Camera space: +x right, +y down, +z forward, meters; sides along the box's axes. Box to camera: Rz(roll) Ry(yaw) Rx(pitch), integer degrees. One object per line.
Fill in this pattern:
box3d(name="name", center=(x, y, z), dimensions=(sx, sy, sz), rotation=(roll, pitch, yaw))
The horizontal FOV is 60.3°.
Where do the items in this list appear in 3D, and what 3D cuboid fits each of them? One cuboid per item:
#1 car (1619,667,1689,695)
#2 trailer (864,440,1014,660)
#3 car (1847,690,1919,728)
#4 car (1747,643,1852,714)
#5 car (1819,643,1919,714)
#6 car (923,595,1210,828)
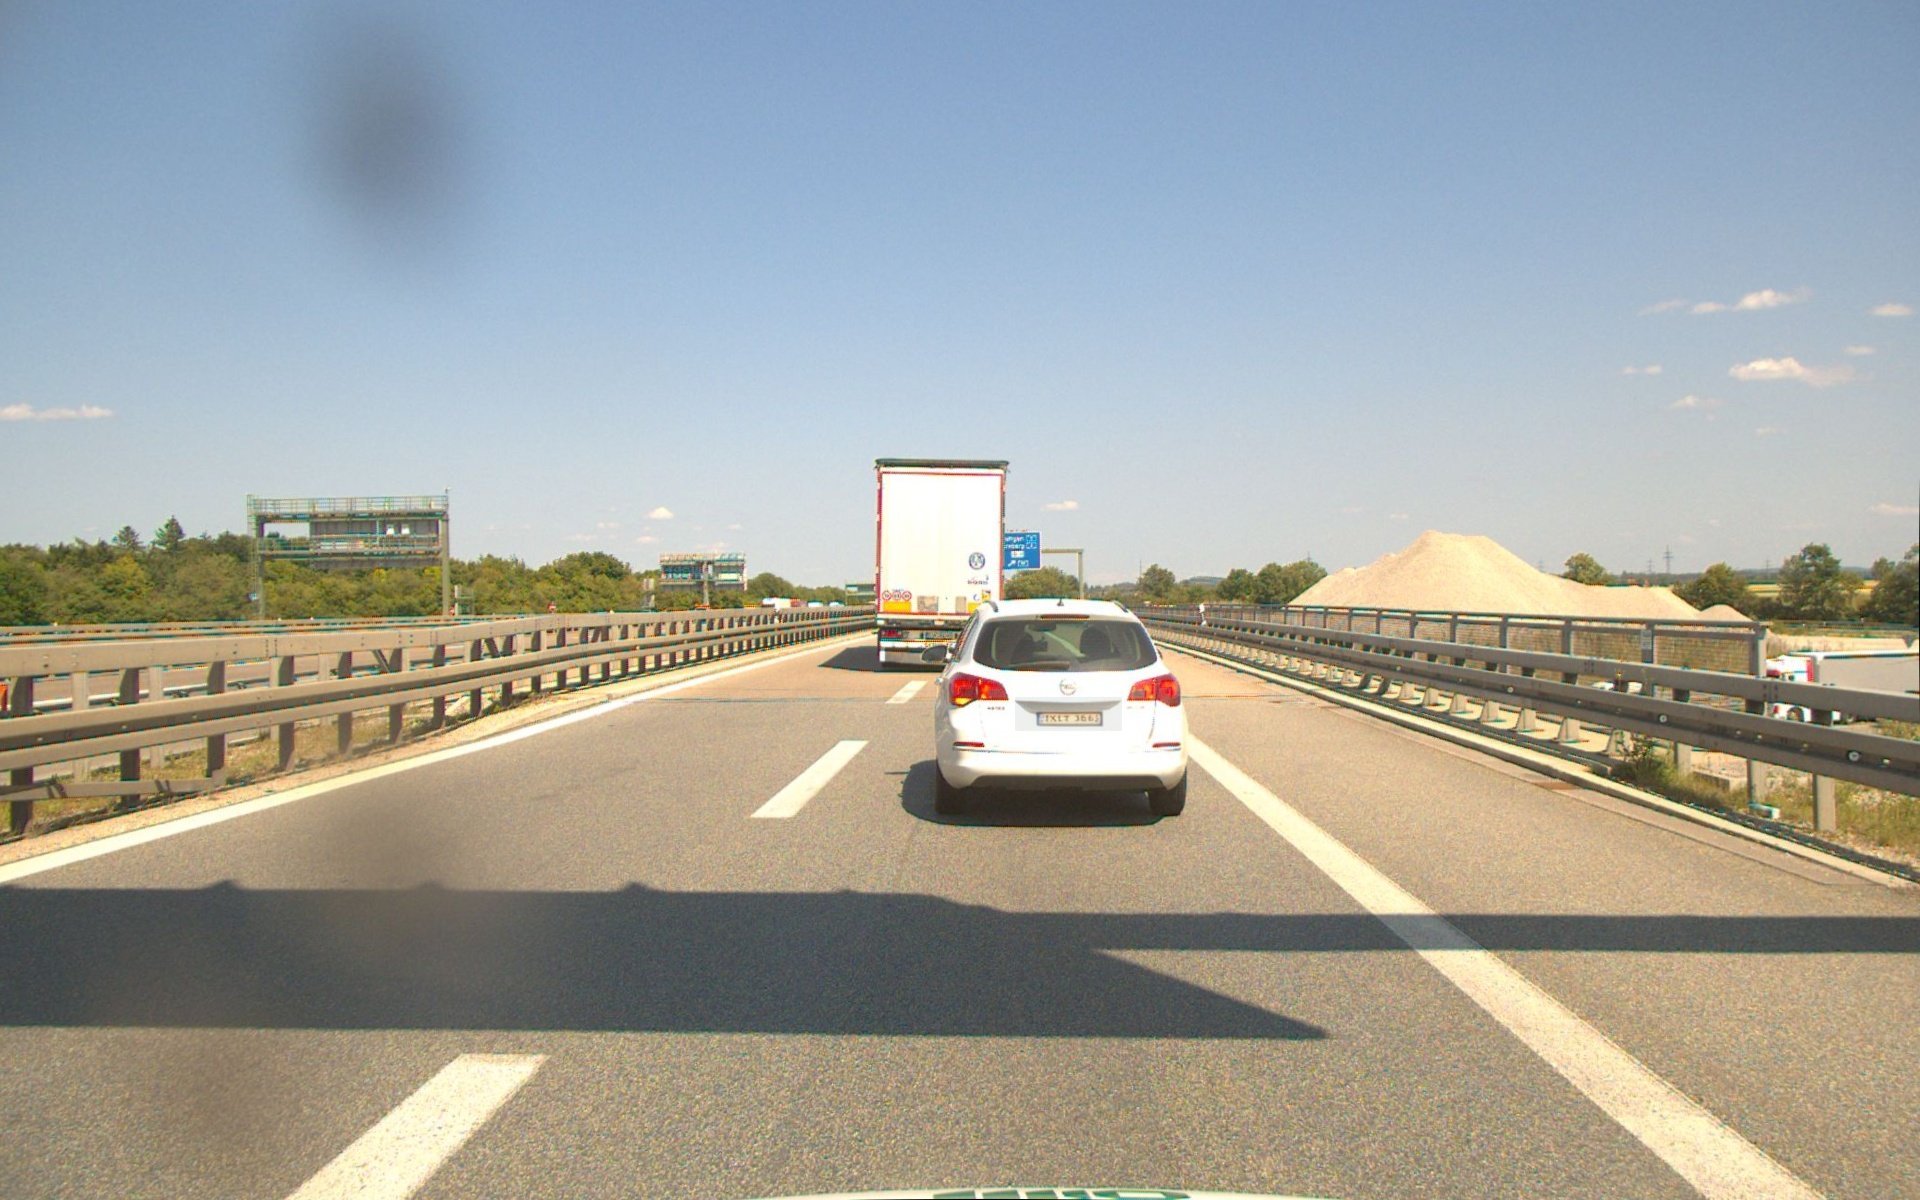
box3d(name="car", center=(48.492, 5.646, 115.637), dimensions=(4.039, 1.638, 1.996), rotation=(4, -1, -9))
box3d(name="trailer", center=(-0.514, -0.879, 37.486), dimensions=(2.853, 4.218, 11.254), rotation=(1, -1, -1))
box3d(name="car", center=(53.747, 6.288, 95.303), dimensions=(4.312, 2.049, 1.996), rotation=(1, -1, -8))
box3d(name="car", center=(49.638, 4.642, 97.805), dimensions=(5.046, 4.033, 2.478), rotation=(1, -1, -8))
box3d(name="car", center=(58.086, 4.731, 99.123), dimensions=(12.727, 4.033, 2.478), rotation=(1, -1, -8))
box3d(name="car", center=(0.733, 0.711, 12.671), dimensions=(1.816, 1.468, 4.372), rotation=(0, 0, 1))
